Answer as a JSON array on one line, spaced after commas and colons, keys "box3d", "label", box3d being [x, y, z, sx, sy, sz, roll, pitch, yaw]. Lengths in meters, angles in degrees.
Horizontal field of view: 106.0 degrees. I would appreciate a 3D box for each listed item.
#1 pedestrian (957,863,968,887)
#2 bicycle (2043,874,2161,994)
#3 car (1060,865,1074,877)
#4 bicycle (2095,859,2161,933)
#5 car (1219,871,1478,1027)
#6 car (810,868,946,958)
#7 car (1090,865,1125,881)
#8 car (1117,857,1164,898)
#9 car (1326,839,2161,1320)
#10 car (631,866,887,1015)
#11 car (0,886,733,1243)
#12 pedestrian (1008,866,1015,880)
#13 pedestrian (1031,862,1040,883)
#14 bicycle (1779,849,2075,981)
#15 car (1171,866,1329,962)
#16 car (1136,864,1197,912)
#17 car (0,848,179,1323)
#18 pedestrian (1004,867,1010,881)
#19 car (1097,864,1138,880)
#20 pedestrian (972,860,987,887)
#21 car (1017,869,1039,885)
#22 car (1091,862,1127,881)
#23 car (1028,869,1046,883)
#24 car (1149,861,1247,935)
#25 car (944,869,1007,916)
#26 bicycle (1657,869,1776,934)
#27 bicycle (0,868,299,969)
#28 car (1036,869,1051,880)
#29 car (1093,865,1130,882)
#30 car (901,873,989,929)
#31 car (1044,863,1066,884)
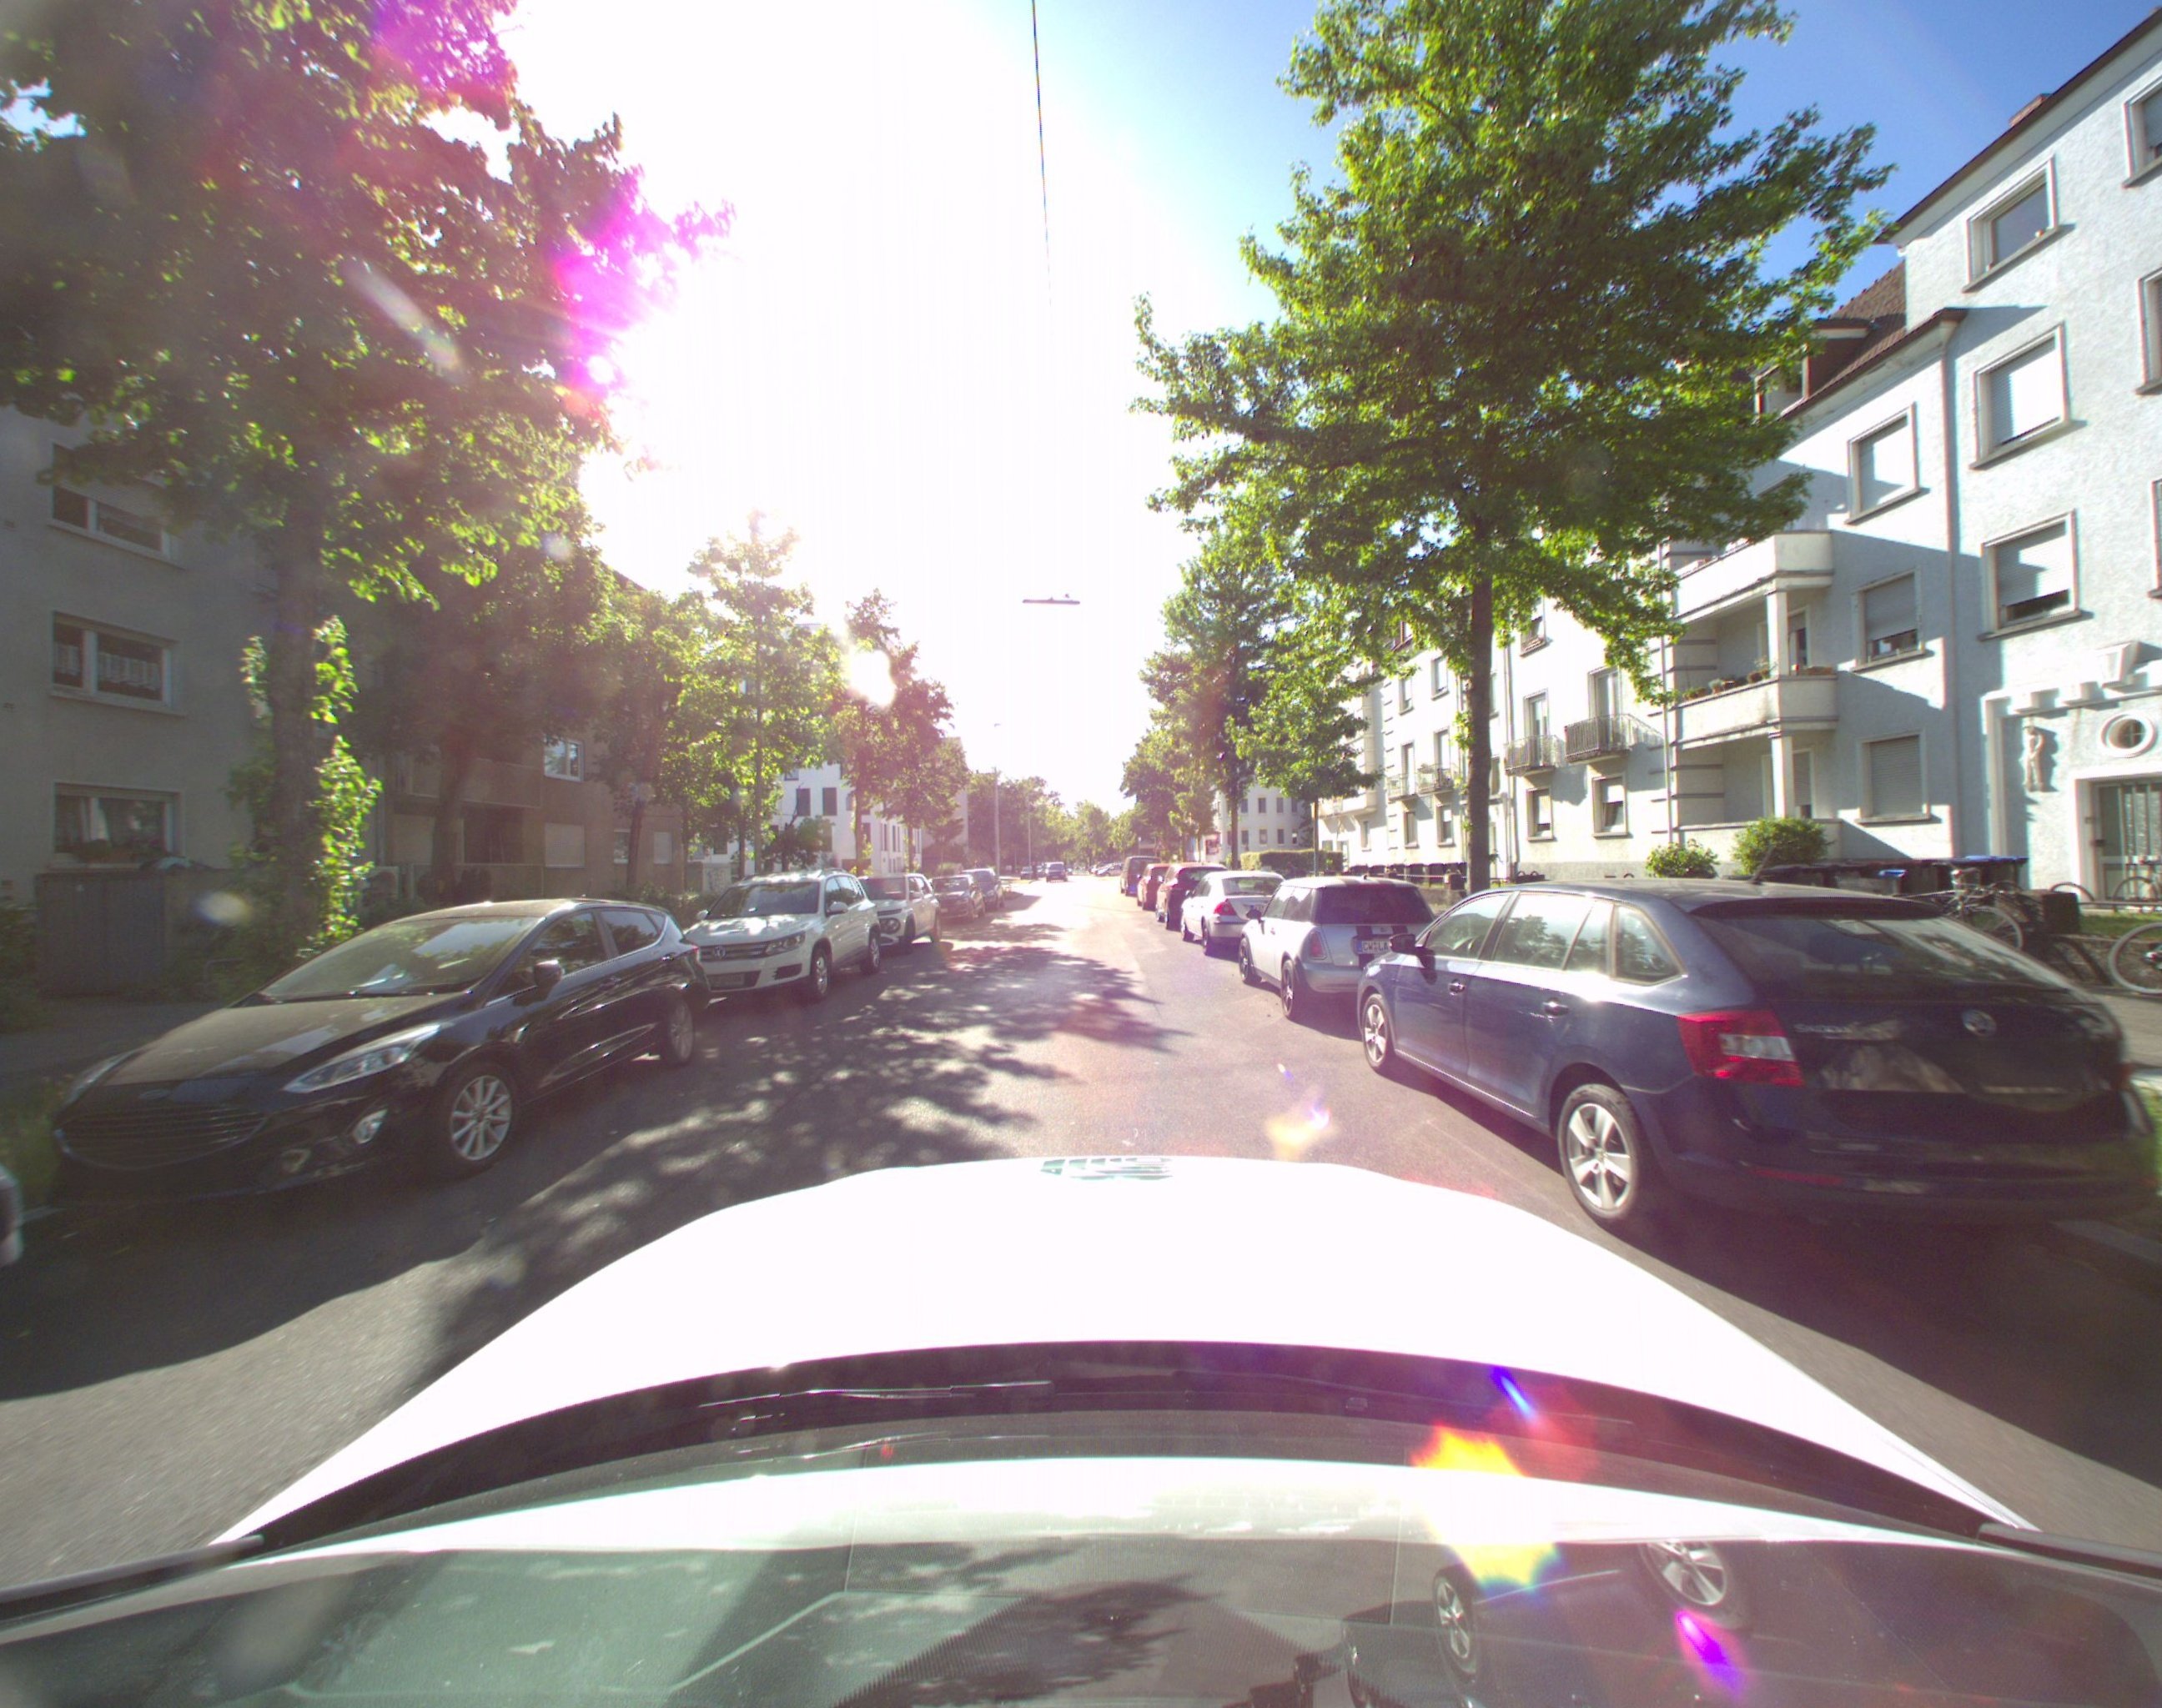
[{"box3d": [-10.384, 1.829, 71.502, 0.857, 2.014, 0.980, -1, -1, -2], "label": "pedestrian"}, {"box3d": [9.185, 0.660, 6.558, 0.594, 0.957, 1.903, -2, -1, 0], "label": "bicycle"}, {"box3d": [-2.027, 2.453, 117.304, 1.889, 1.560, 3.999, -1, -1, 0], "label": "car"}, {"box3d": [15.828, 0.586, 11.889, 1.578, 0.971, 0.474, -4, -1, -7], "label": "bicycle"}, {"box3d": [2.837, 0.926, 9.553, 1.783, 1.453, 3.780, 0, -1, 0], "label": "car"}, {"box3d": [-4.013, 1.104, 16.756, 1.704, 1.544, 3.930, -3, -1, 0], "label": "car"}, {"box3d": [3.114, 2.233, 96.758, 3.977, 1.830, 1.998, -1, -1, -3], "label": "car"}, {"box3d": [3.004, 1.174, 41.893, 1.965, 1.949, 4.983, -1, -1, -1], "label": "car"}, {"box3d": [2.958, 0.749, 4.852, 1.687, 1.541, 4.440, 0, -1, 0], "label": "car"}, {"box3d": [-4.086, 1.004, 11.183, 1.805, 1.596, 4.231, -2, -1, 0], "label": "car"}, {"box3d": [-4.156, 1.030, 5.662, 1.757, 1.444, 3.907, -3, -1, -1], "label": "car"}, {"box3d": [-10.274, 2.831, 120.503, 0.858, 2.014, 0.979, -1, -1, -7], "label": "pedestrian"}, {"box3d": [-4.324, 1.747, 76.921, 0.715, 1.900, 0.834, -1, -1, -10], "label": "pedestrian"}, {"box3d": [9.104, 0.609, 8.959, 0.837, 1.257, 2.228, 0, -1, -4], "label": "bicycle"}, {"box3d": [2.961, 1.016, 15.323, 1.891, 1.474, 4.696, 2, -1, -1], "label": "car"}, {"box3d": [3.030, 1.198, 29.665, 1.828, 1.600, 4.158, 1, -1, 1], "label": "car"}, {"box3d": [-4.240, 0.713, 0.923, 1.824, 1.453, 4.121, -2, -1, 0], "label": "car"}, {"box3d": [-10.627, 2.860, 116.682, 0.761, 1.901, 0.817, -1, -1, -7], "label": "pedestrian"}, {"box3d": [3.754, 1.853, 84.227, 3.979, 1.587, 1.724, -1, -1, -4], "label": "car"}, {"box3d": [-7.870, 1.505, 63.345, 0.854, 2.014, 0.983, -2, -1, 8], "label": "pedestrian"}, {"box3d": [-5.540, 2.395, 85.670, 1.987, 1.671, 3.999, -1, -1, 0], "label": "car"}, {"box3d": [3.165, 2.003, 92.265, 3.977, 2.014, 1.998, -1, -1, -3], "label": "car"}, {"box3d": [-5.471, 2.700, 100.952, 1.987, 1.585, 3.999, -1, -1, 0], "label": "car"}, {"box3d": [2.951, 1.064, 21.415, 1.901, 1.699, 4.312, 2, -1, 0], "label": "car"}, {"box3d": [-3.997, 1.439, 31.575, 1.834, 1.595, 4.260, -3, -1, -1], "label": "car"}, {"box3d": [10.810, 0.799, 13.876, 1.574, 0.971, 0.501, -4, -1, 0], "label": "bicycle"}, {"box3d": [-12.555, 0.791, 10.640, 0.904, 1.136, 3.257, -2, -1, 34], "label": "bicycle"}, {"box3d": [-5.673, 3.056, 122.730, 1.987, 1.585, 3.999, -1, -1, 0], "label": "car"}, {"box3d": [3.327, 2.113, 89.436, 3.977, 1.806, 1.887, -1, -1, -3], "label": "car"}, {"box3d": [-4.154, 1.396, 25.504, 1.988, 1.453, 4.260, -4, -1, -1], "label": "car"}, {"box3d": [-2.132, 1.624, 67.793, 1.778, 1.609, 3.998, -2, -1, -1], "label": "car"}]
